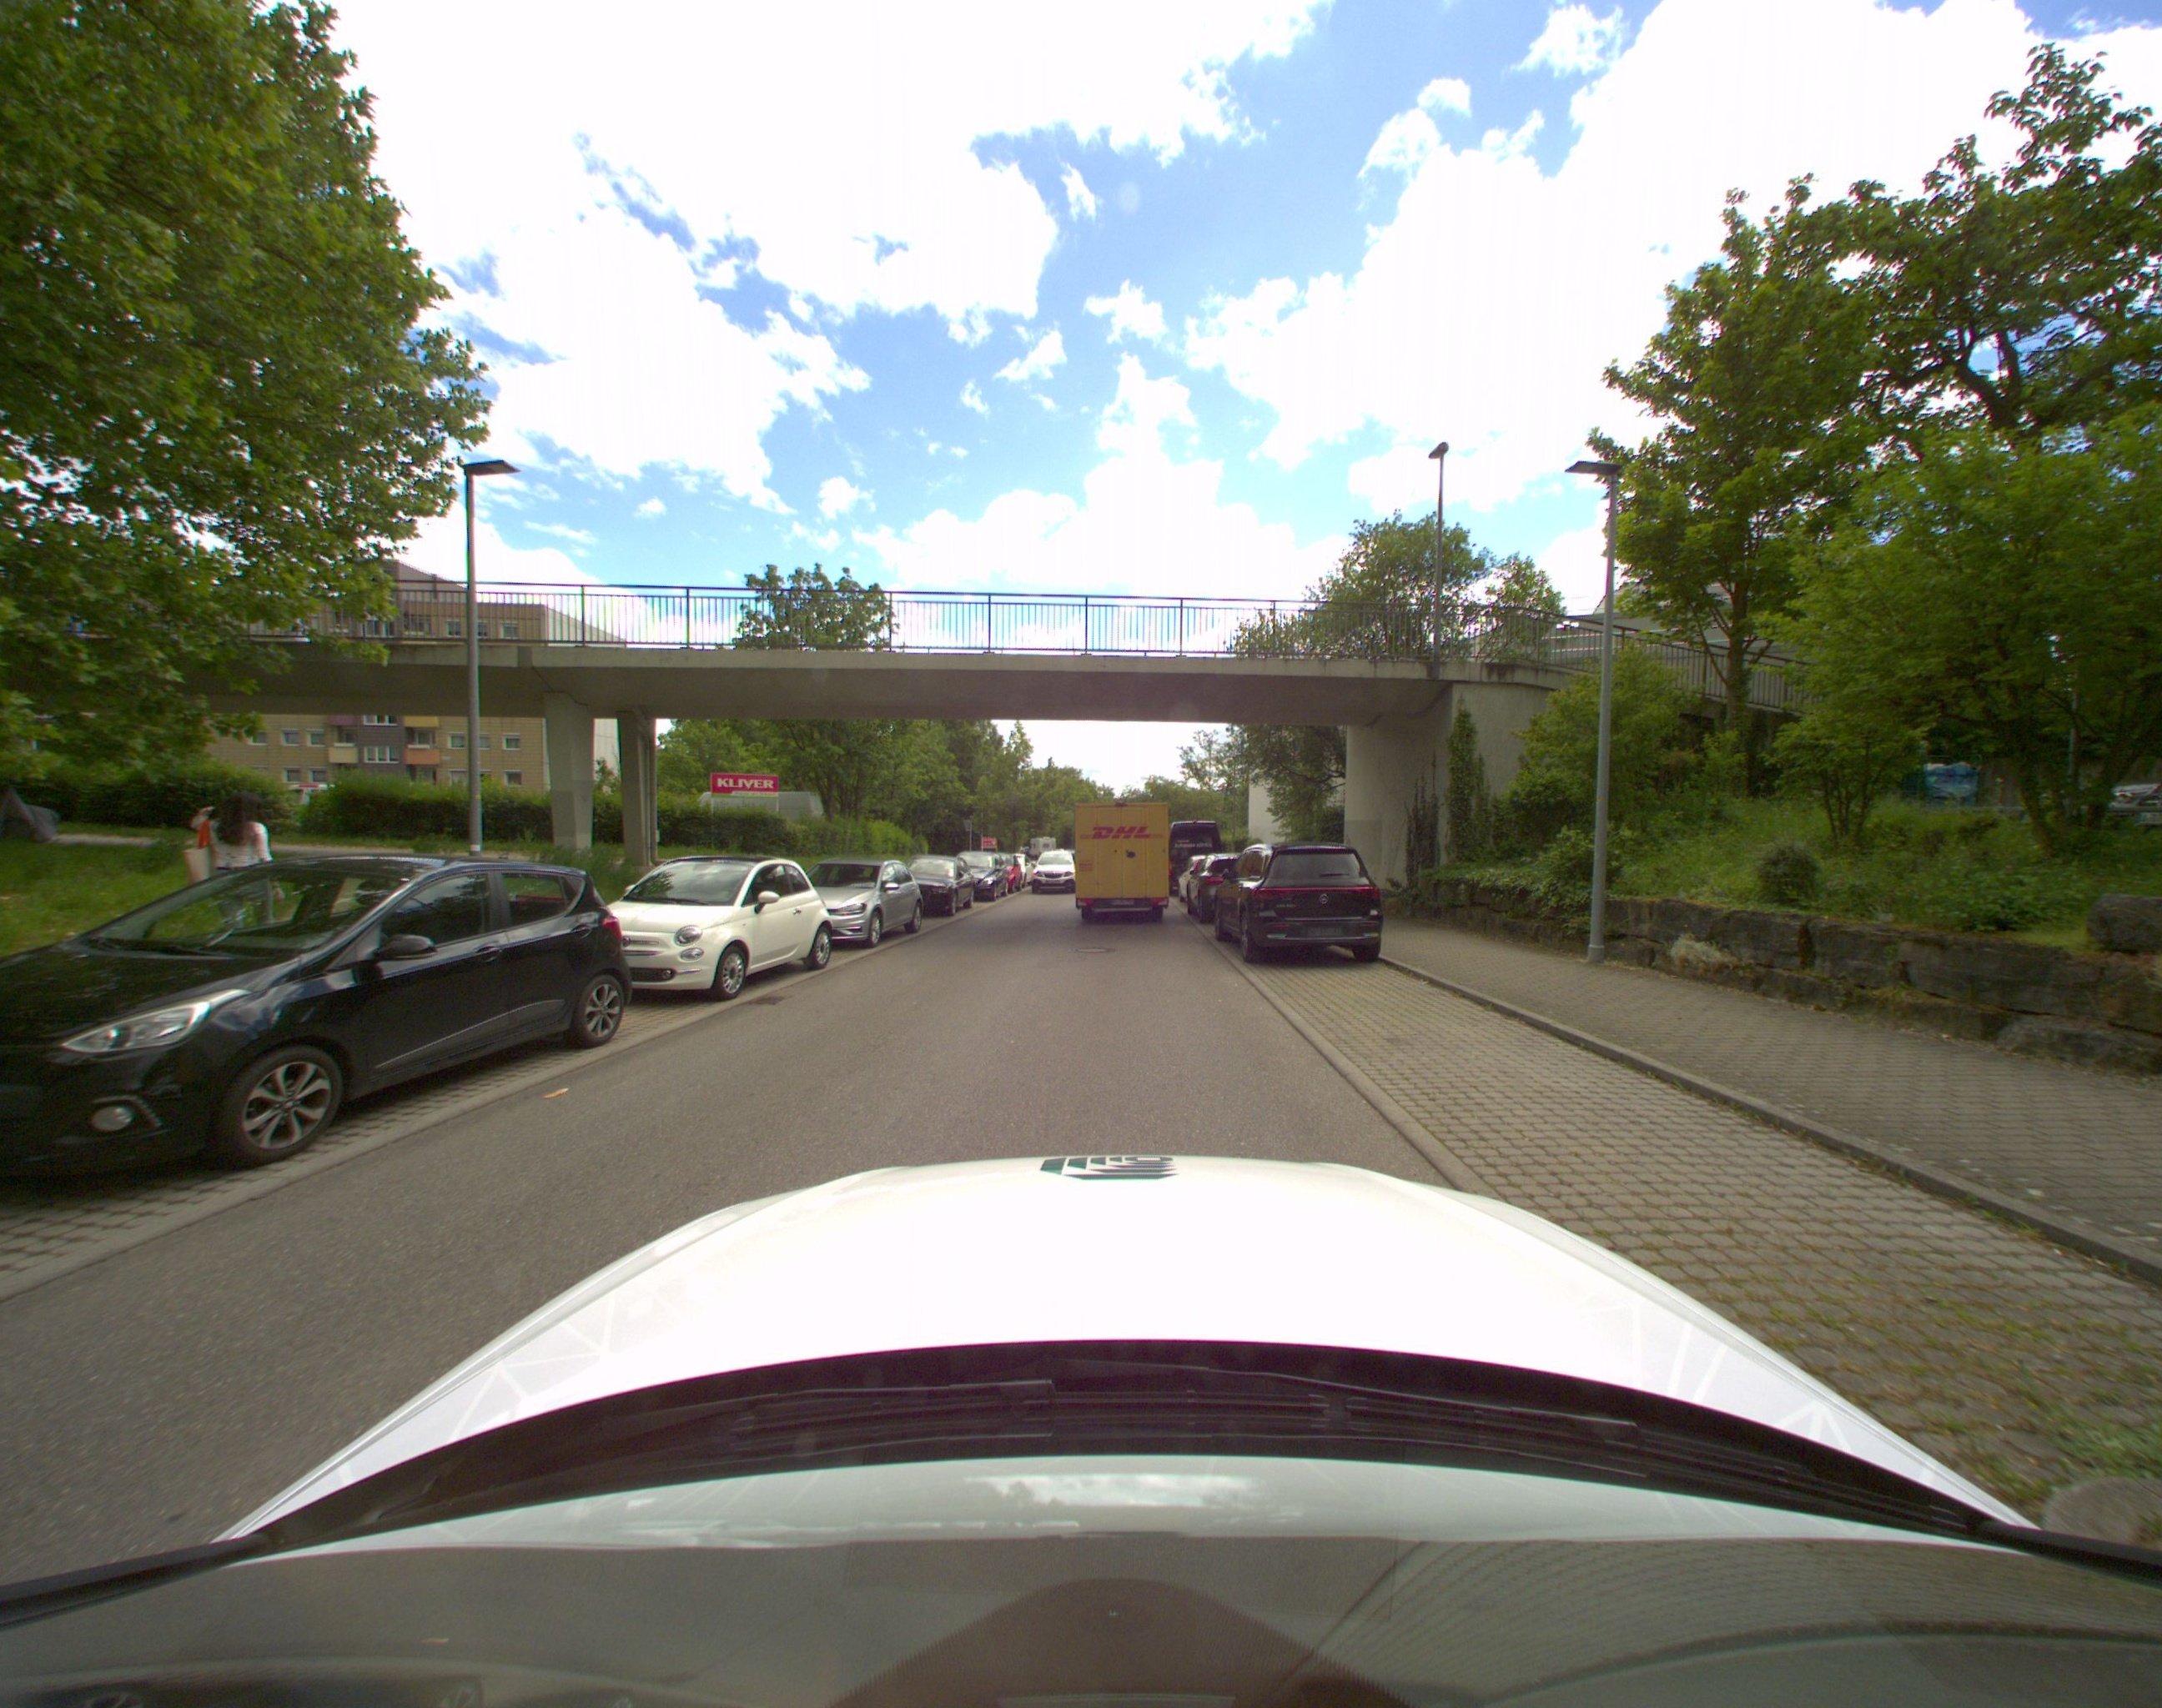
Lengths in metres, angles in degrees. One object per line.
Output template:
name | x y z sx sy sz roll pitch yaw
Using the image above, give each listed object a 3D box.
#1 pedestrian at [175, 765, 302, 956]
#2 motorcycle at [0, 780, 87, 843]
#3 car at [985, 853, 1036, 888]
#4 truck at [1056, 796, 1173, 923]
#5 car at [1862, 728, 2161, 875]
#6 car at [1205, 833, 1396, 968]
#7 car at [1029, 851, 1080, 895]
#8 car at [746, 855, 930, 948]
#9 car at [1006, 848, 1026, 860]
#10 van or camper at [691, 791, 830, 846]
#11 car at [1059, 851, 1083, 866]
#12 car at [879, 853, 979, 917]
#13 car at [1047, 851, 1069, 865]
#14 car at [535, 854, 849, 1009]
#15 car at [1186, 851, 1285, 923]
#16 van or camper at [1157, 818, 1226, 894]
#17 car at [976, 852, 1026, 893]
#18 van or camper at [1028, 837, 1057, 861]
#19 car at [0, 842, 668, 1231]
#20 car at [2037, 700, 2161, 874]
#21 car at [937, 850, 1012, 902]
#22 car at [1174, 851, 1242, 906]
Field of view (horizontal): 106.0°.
pedestrian | -8.034 0.051 7.801 0.743 1.721 0.652 0 1 -37
motorcycle | -22.130 -0.875 16.675 0.876 1.270 2.057 1 1 20
car | -3.080 0.673 36.288 1.668 1.436 3.972 1 0 3
truck | 0.836 0.110 21.237 2.457 2.702 6.827 -2 0 2
car | 13.004 -0.602 9.991 4.504 1.668 1.955 2 2 22
car | 3.101 0.577 12.439 1.807 1.678 4.371 -1 0 1
car | -1.003 0.712 32.999 1.741 1.611 4.055 -1 0 2
car | -4.180 0.749 14.747 1.876 1.427 4.004 1 0 3
car | -9.503 -0.006 118.624 1.851 1.530 3.970 0 2 -23
van or camper | -12.937 -1.432 33.146 4.842 2.085 1.998 1 1 -3
car | -1.164 0.471 92.672 1.846 1.530 3.981 1 2 -14
car | -3.934 0.748 21.827 1.879 1.509 4.450 1 0 -1
car | -2.874 0.497 99.761 1.846 1.530 3.981 1 2 -14
car | -4.375 0.766 9.854 1.876 1.460 3.550 2 0 3
car | 3.484 0.690 19.042 1.693 1.496 4.121 0 0 2
van or camper | 4.005 0.076 30.340 1.985 2.523 5.474 -2 0 3
car | -3.111 0.695 32.140 1.522 1.506 2.716 1 0 4
van or camper | -5.051 -0.678 106.344 2.330 2.871 5.228 2 1 -19
car | -4.732 0.717 5.303 1.778 1.468 4.004 3 0 3
car | 12.112 -0.584 7.408 3.952 1.613 1.955 2 2 22
car | -3.543 0.683 27.734 1.878 1.559 3.839 3 0 1
car | 3.731 0.672 24.383 1.557 1.496 3.331 -1 0 1
